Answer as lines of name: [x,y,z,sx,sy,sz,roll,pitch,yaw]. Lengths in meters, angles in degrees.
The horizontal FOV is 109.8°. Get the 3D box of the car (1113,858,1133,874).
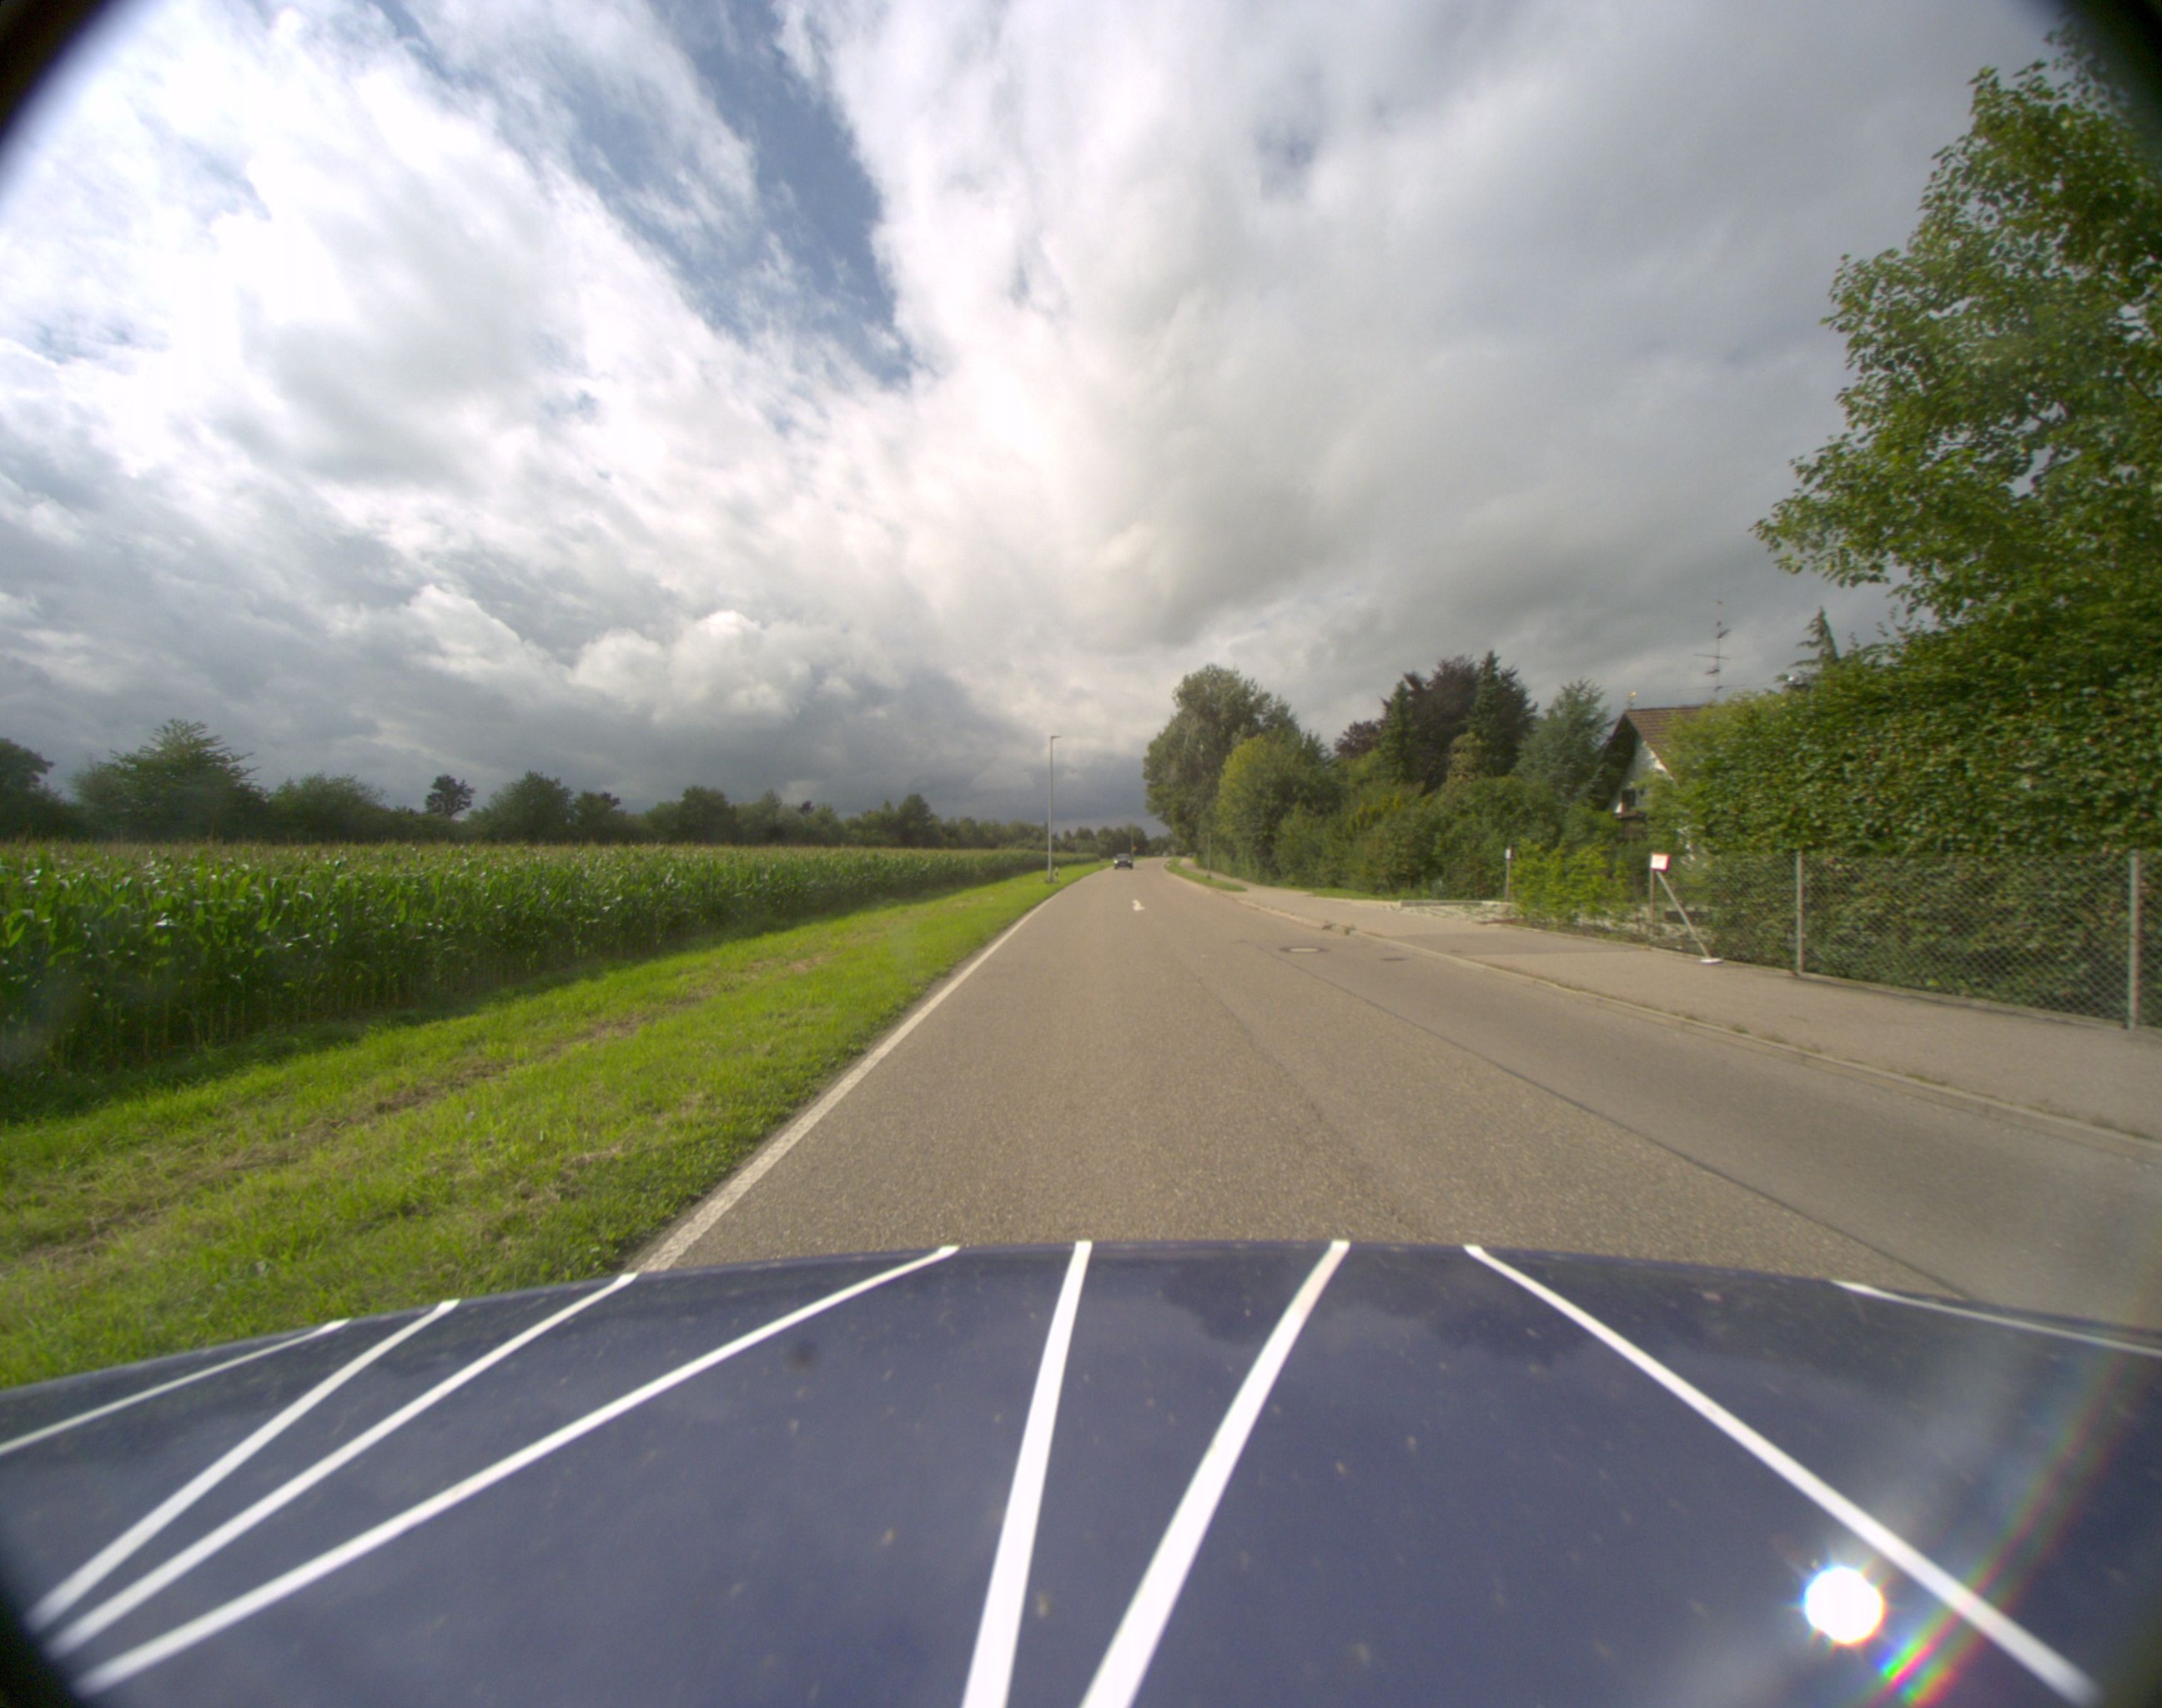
car: [4.499,1.243,81.426,1.998,1.594,4.001,-1,0,4]

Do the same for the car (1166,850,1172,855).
car: [28.872,-0.518,250.117,1.814,1.641,4.294,1,1,8]
